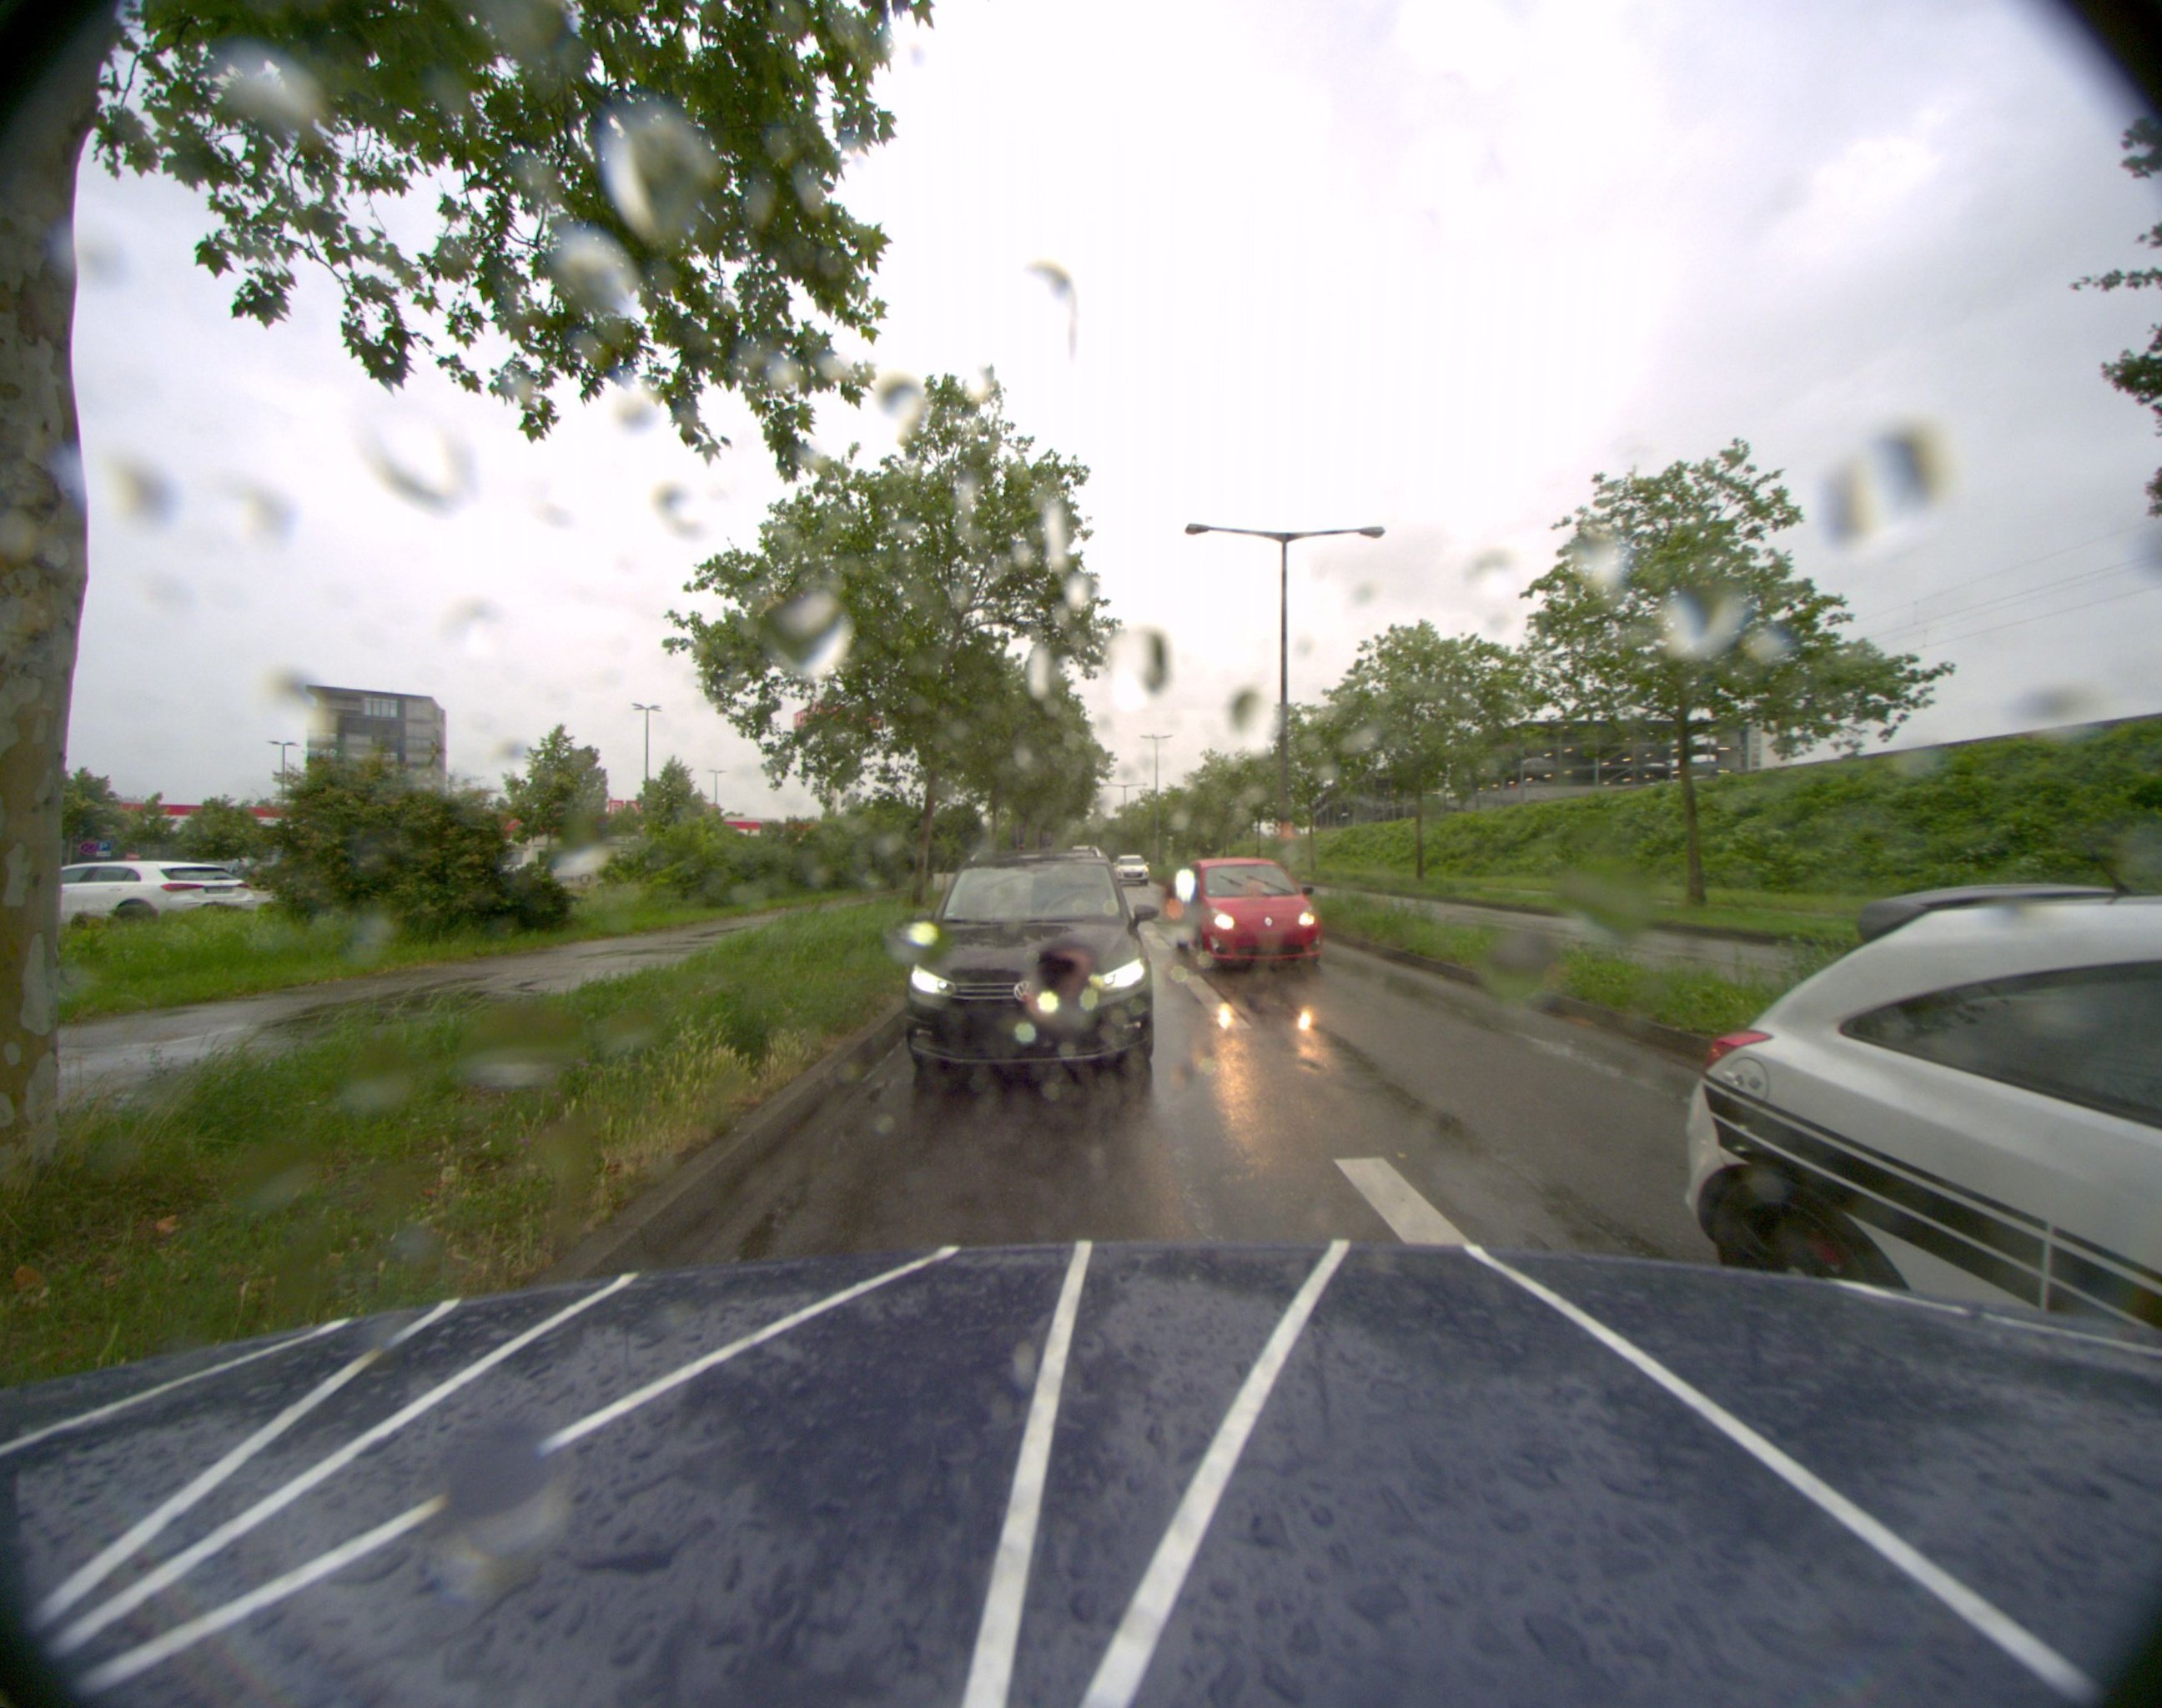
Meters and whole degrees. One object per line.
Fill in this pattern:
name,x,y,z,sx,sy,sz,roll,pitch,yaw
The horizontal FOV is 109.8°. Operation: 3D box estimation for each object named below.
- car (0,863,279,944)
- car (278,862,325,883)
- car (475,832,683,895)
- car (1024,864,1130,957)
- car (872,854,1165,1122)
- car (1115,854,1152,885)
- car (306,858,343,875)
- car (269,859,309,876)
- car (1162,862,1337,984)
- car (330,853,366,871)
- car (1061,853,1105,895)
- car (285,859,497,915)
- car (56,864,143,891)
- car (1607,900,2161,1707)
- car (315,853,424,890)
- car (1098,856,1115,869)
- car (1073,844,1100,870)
car,-19.786,0.964,15.658,4.272,1.543,1.929,0,0,-4
car,-67.272,1.599,65.605,2.006,1.667,4.262,0,0,-34
car,-19.658,0.359,30.078,6.425,2.349,2.390,0,0,-8
car,-0.067,0.978,14.889,1.724,1.456,4.092,-2,0,0
car,-0.431,0.833,7.065,1.771,1.596,4.626,-2,0,-1
car,2.990,0.853,44.009,1.831,1.602,4.147,-2,0,0
car,-78.456,1.234,78.868,2.006,1.667,4.262,0,0,-35
car,-80.567,1.333,77.337,2.006,1.667,4.262,0,0,-35
car,2.349,0.895,11.669,1.724,1.456,4.092,-2,0,0
car,-69.151,0.741,71.694,2.007,1.667,4.261,0,0,-38
car,0.079,0.860,35.008,1.831,1.737,4.147,-2,0,0
car,-19.939,0.923,22.128,4.272,1.543,1.929,0,0,-4
car,-61.846,1.437,47.983,1.933,1.543,4.263,0,0,-30
car,2.764,0.875,0.711,1.683,1.368,4.010,-2,0,-1
car,-37.541,0.891,40.242,4.007,1.718,1.886,-3,1,-38
car,3.092,0.993,92.998,1.715,1.494,3.999,-2,0,-2
car,0.448,0.199,61.171,1.998,2.002,5.132,-2,1,1
